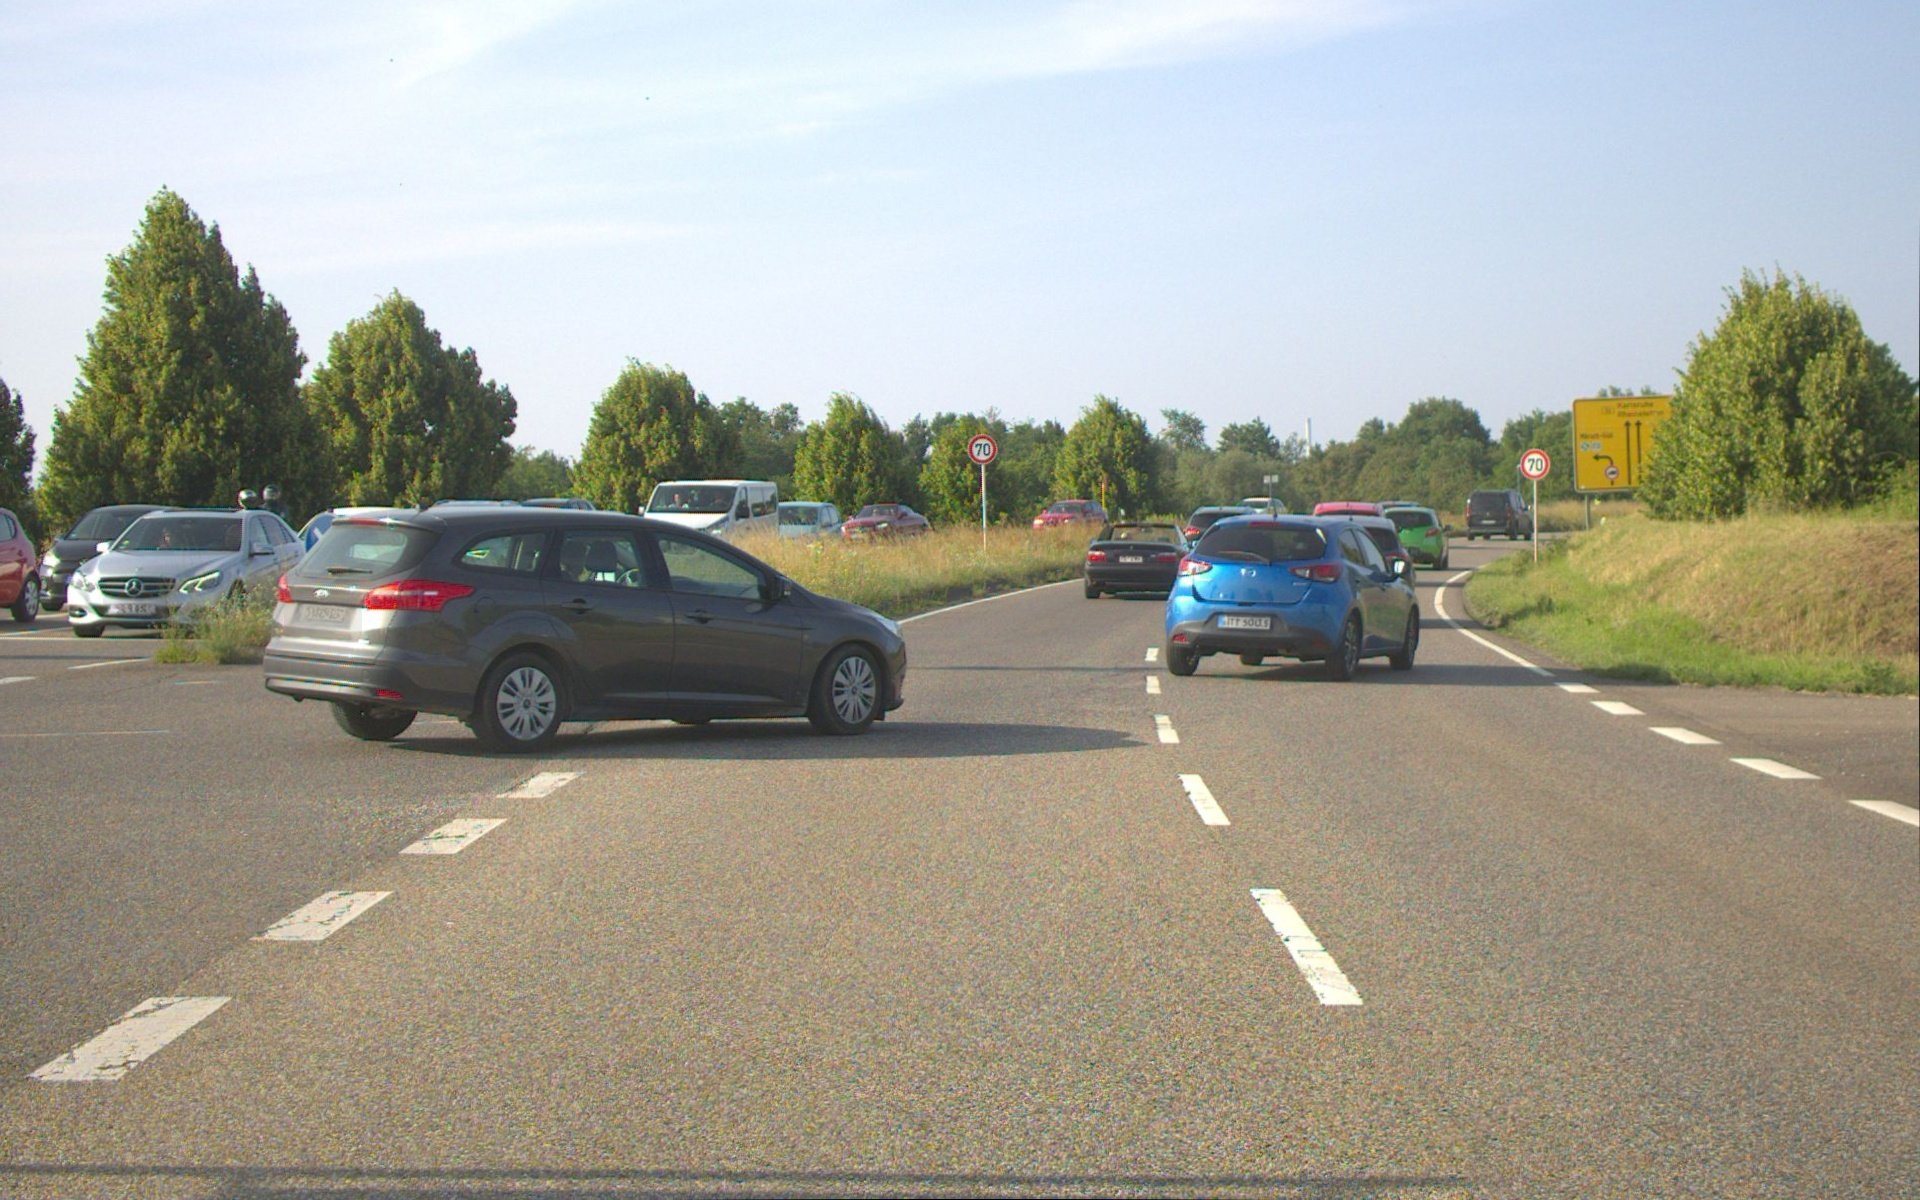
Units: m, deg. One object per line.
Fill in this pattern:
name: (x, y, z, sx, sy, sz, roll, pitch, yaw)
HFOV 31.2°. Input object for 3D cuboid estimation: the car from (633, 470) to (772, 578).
car: (-5.136, -1.538, 69.074, 1.926, 2.071, 4.242, -1, 1, 8)

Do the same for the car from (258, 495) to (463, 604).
car: (-8.225, -0.721, 47.528, 1.786, 1.428, 4.309, -1, 1, 4)

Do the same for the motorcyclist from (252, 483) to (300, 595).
motorcyclist: (-11.189, -1.000, 56.223, 0.662, 1.810, 0.605, -1, 1, -3)

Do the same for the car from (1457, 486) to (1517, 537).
car: (18.910, -3.179, 123.515, 1.909, 1.728, 4.277, 0, 0, 5)

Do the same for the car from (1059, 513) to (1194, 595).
car: (2.833, -0.750, 57.714, 1.909, 1.318, 4.277, 0, 0, 8)

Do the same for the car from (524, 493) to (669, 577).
car: (-6.281, -1.143, 59.770, 1.786, 1.381, 4.051, -1, 1, 4)

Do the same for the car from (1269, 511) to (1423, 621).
car: (5.125, -0.444, 45.999, 1.915, 1.411, 3.795, 0, 0, 5)

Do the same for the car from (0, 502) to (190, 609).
car: (-12.321, -0.656, 48.403, 1.786, 1.428, 4.051, -1, 1, 4)

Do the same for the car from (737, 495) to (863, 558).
car: (-3.604, -1.673, 78.031, 1.787, 1.381, 4.049, 0, 1, 14)

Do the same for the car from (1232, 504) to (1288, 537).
car: (12.841, -3.390, 146.877, 1.787, 1.381, 4.049, 0, 1, 14)

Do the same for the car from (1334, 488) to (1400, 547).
car: (12.596, -2.534, 106.549, 1.909, 1.728, 4.277, 0, 0, 5)

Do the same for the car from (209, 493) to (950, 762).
car: (-2.366, 0.117, 22.136, 4.518, 1.560, 1.815, -1, 2, -41)

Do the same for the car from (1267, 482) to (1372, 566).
car: (7.037, -1.468, 67.622, 1.895, 1.559, 4.277, 0, 0, 4)

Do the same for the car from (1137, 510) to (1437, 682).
car: (3.116, -0.091, 32.058, 1.775, 1.487, 3.981, 1, 2, 21)

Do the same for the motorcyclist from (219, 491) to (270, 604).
motorcyclist: (-11.110, -0.821, 53.370, 0.662, 1.741, 0.605, -1, 1, -3)

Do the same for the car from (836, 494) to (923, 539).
car: (-2.539, -2.672, 109.451, 1.787, 1.381, 4.049, 0, 1, 14)

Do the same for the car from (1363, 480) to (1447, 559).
car: (10.505, -1.876, 81.065, 1.909, 1.794, 4.276, 0, 0, 8)

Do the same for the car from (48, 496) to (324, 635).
car: (-8.777, -0.434, 39.384, 1.786, 1.483, 4.651, -1, 1, 4)

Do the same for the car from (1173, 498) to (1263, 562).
car: (5.906, -1.576, 78.289, 1.837, 1.372, 4.277, 0, 0, 7)

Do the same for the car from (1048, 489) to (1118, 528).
car: (4.570, -3.386, 126.969, 1.787, 1.381, 4.049, 0, 1, 14)

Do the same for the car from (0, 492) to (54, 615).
car: (-12.439, -0.550, 41.445, 1.721, 1.483, 3.804, -1, 1, 5)

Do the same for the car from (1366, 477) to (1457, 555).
car: (11.616, -2.141, 88.671, 1.909, 1.909, 4.278, 0, 0, 2)
